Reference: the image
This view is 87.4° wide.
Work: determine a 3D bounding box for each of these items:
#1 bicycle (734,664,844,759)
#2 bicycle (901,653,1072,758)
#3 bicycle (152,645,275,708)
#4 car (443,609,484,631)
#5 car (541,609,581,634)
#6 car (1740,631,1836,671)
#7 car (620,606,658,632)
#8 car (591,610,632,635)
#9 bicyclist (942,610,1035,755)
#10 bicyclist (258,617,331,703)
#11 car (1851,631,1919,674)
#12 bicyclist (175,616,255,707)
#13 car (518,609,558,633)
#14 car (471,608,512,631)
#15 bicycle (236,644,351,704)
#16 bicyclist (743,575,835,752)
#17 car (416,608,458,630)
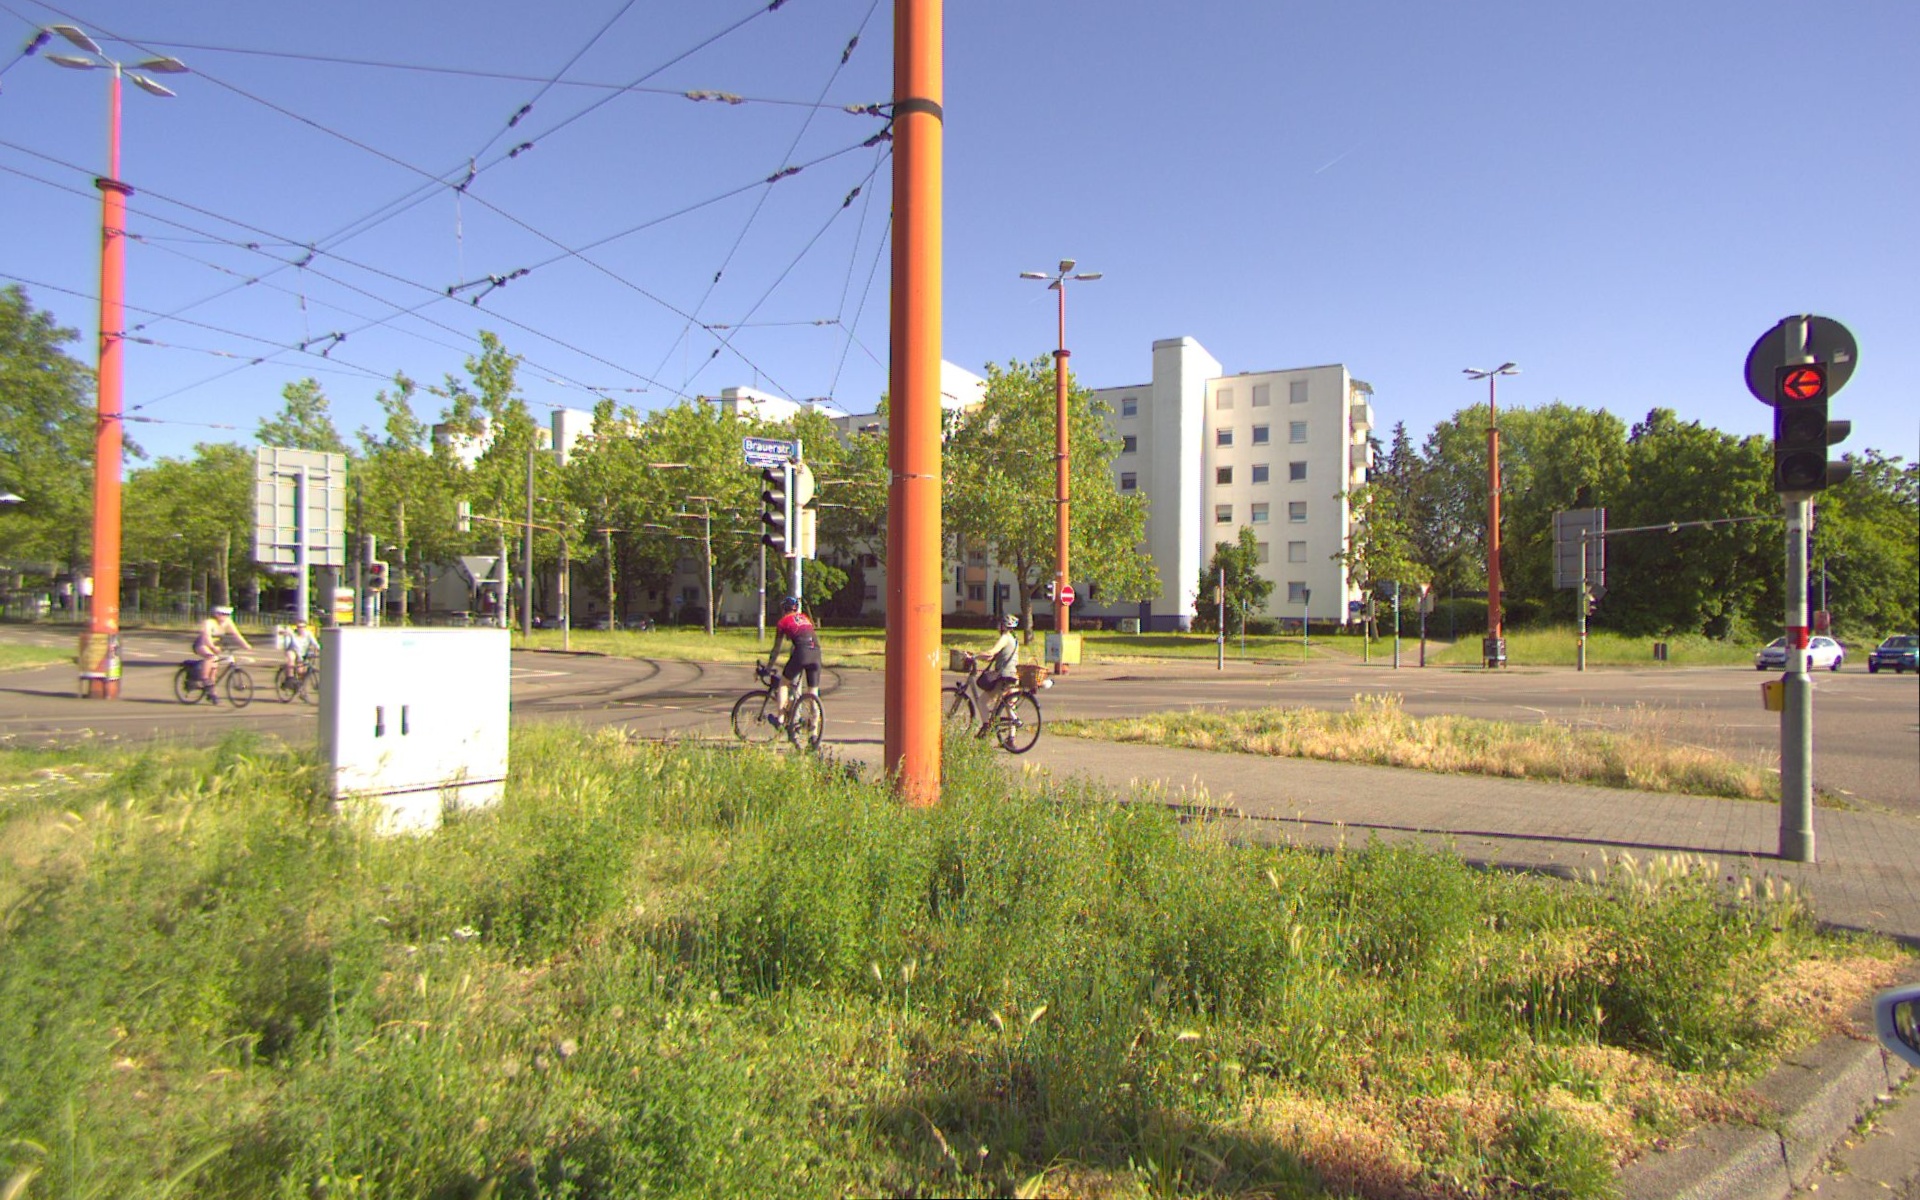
[{"bbox_3d":[-2.120,1.311,12.241,0.915,0.976,1.747,1,-1,-24],"label":"bicycle"},{"bbox_3d":[0.310,1.230,12.126,1.855,1.102,0.925,0,-1,34],"label":"bicycle"},{"bbox_3d":[-14.033,1.416,18.901,1.849,1.102,0.928,0,-1,18],"label":"bicycle"},{"bbox_3d":[-42.676,1.707,86.454,1.963,1.840,3.995,1,-1,-8],"label":"car"},{"bbox_3d":[-31.195,1.682,78.684,1.963,1.840,3.995,1,-1,-8],"label":"car"},{"bbox_3d":[35.140,2.154,42.610,4.075,1.594,1.983,1,-1,-32],"label":"car"},{"bbox_3d":[-23.406,1.405,73.423,1.963,1.840,3.995,1,-1,-8],"label":"car"},{"bbox_3d":[-26.112,1.693,75.335,1.962,1.840,3.997,1,-1,-5],"label":"car"},{"bbox_3d":[0.354,0.960,12.102,0.728,1.659,0.931,0,-1,35],"label":"bicyclist"},{"bbox_3d":[-13.216,1.166,19.974,0.726,1.659,0.934,0,-1,18],"label":"bicyclist"},{"bbox_3d":[37.264,2.041,39.869,4.079,1.594,1.981,2,-1,-35],"label":"car"},{"bbox_3d":[-14.006,1.138,18.902,0.726,1.659,0.934,0,-1,18],"label":"bicyclist"},{"bbox_3d":[-33.811,1.677,80.534,1.963,1.840,3.995,1,-1,-8],"label":"car"},{"bbox_3d":[-39.287,1.648,84.332,1.963,1.840,3.995,1,-1,-8],"label":"car"},{"bbox_3d":[-13.255,1.446,19.985,1.849,1.102,0.928,0,-1,18],"label":"bicycle"},{"bbox_3d":[-2.070,0.751,12.144,0.921,2.040,0.736,1,-1,-25],"label":"bicyclist"},{"bbox_3d":[-46.025,1.683,88.483,1.963,1.840,3.995,1,-1,-8],"label":"car"}]
